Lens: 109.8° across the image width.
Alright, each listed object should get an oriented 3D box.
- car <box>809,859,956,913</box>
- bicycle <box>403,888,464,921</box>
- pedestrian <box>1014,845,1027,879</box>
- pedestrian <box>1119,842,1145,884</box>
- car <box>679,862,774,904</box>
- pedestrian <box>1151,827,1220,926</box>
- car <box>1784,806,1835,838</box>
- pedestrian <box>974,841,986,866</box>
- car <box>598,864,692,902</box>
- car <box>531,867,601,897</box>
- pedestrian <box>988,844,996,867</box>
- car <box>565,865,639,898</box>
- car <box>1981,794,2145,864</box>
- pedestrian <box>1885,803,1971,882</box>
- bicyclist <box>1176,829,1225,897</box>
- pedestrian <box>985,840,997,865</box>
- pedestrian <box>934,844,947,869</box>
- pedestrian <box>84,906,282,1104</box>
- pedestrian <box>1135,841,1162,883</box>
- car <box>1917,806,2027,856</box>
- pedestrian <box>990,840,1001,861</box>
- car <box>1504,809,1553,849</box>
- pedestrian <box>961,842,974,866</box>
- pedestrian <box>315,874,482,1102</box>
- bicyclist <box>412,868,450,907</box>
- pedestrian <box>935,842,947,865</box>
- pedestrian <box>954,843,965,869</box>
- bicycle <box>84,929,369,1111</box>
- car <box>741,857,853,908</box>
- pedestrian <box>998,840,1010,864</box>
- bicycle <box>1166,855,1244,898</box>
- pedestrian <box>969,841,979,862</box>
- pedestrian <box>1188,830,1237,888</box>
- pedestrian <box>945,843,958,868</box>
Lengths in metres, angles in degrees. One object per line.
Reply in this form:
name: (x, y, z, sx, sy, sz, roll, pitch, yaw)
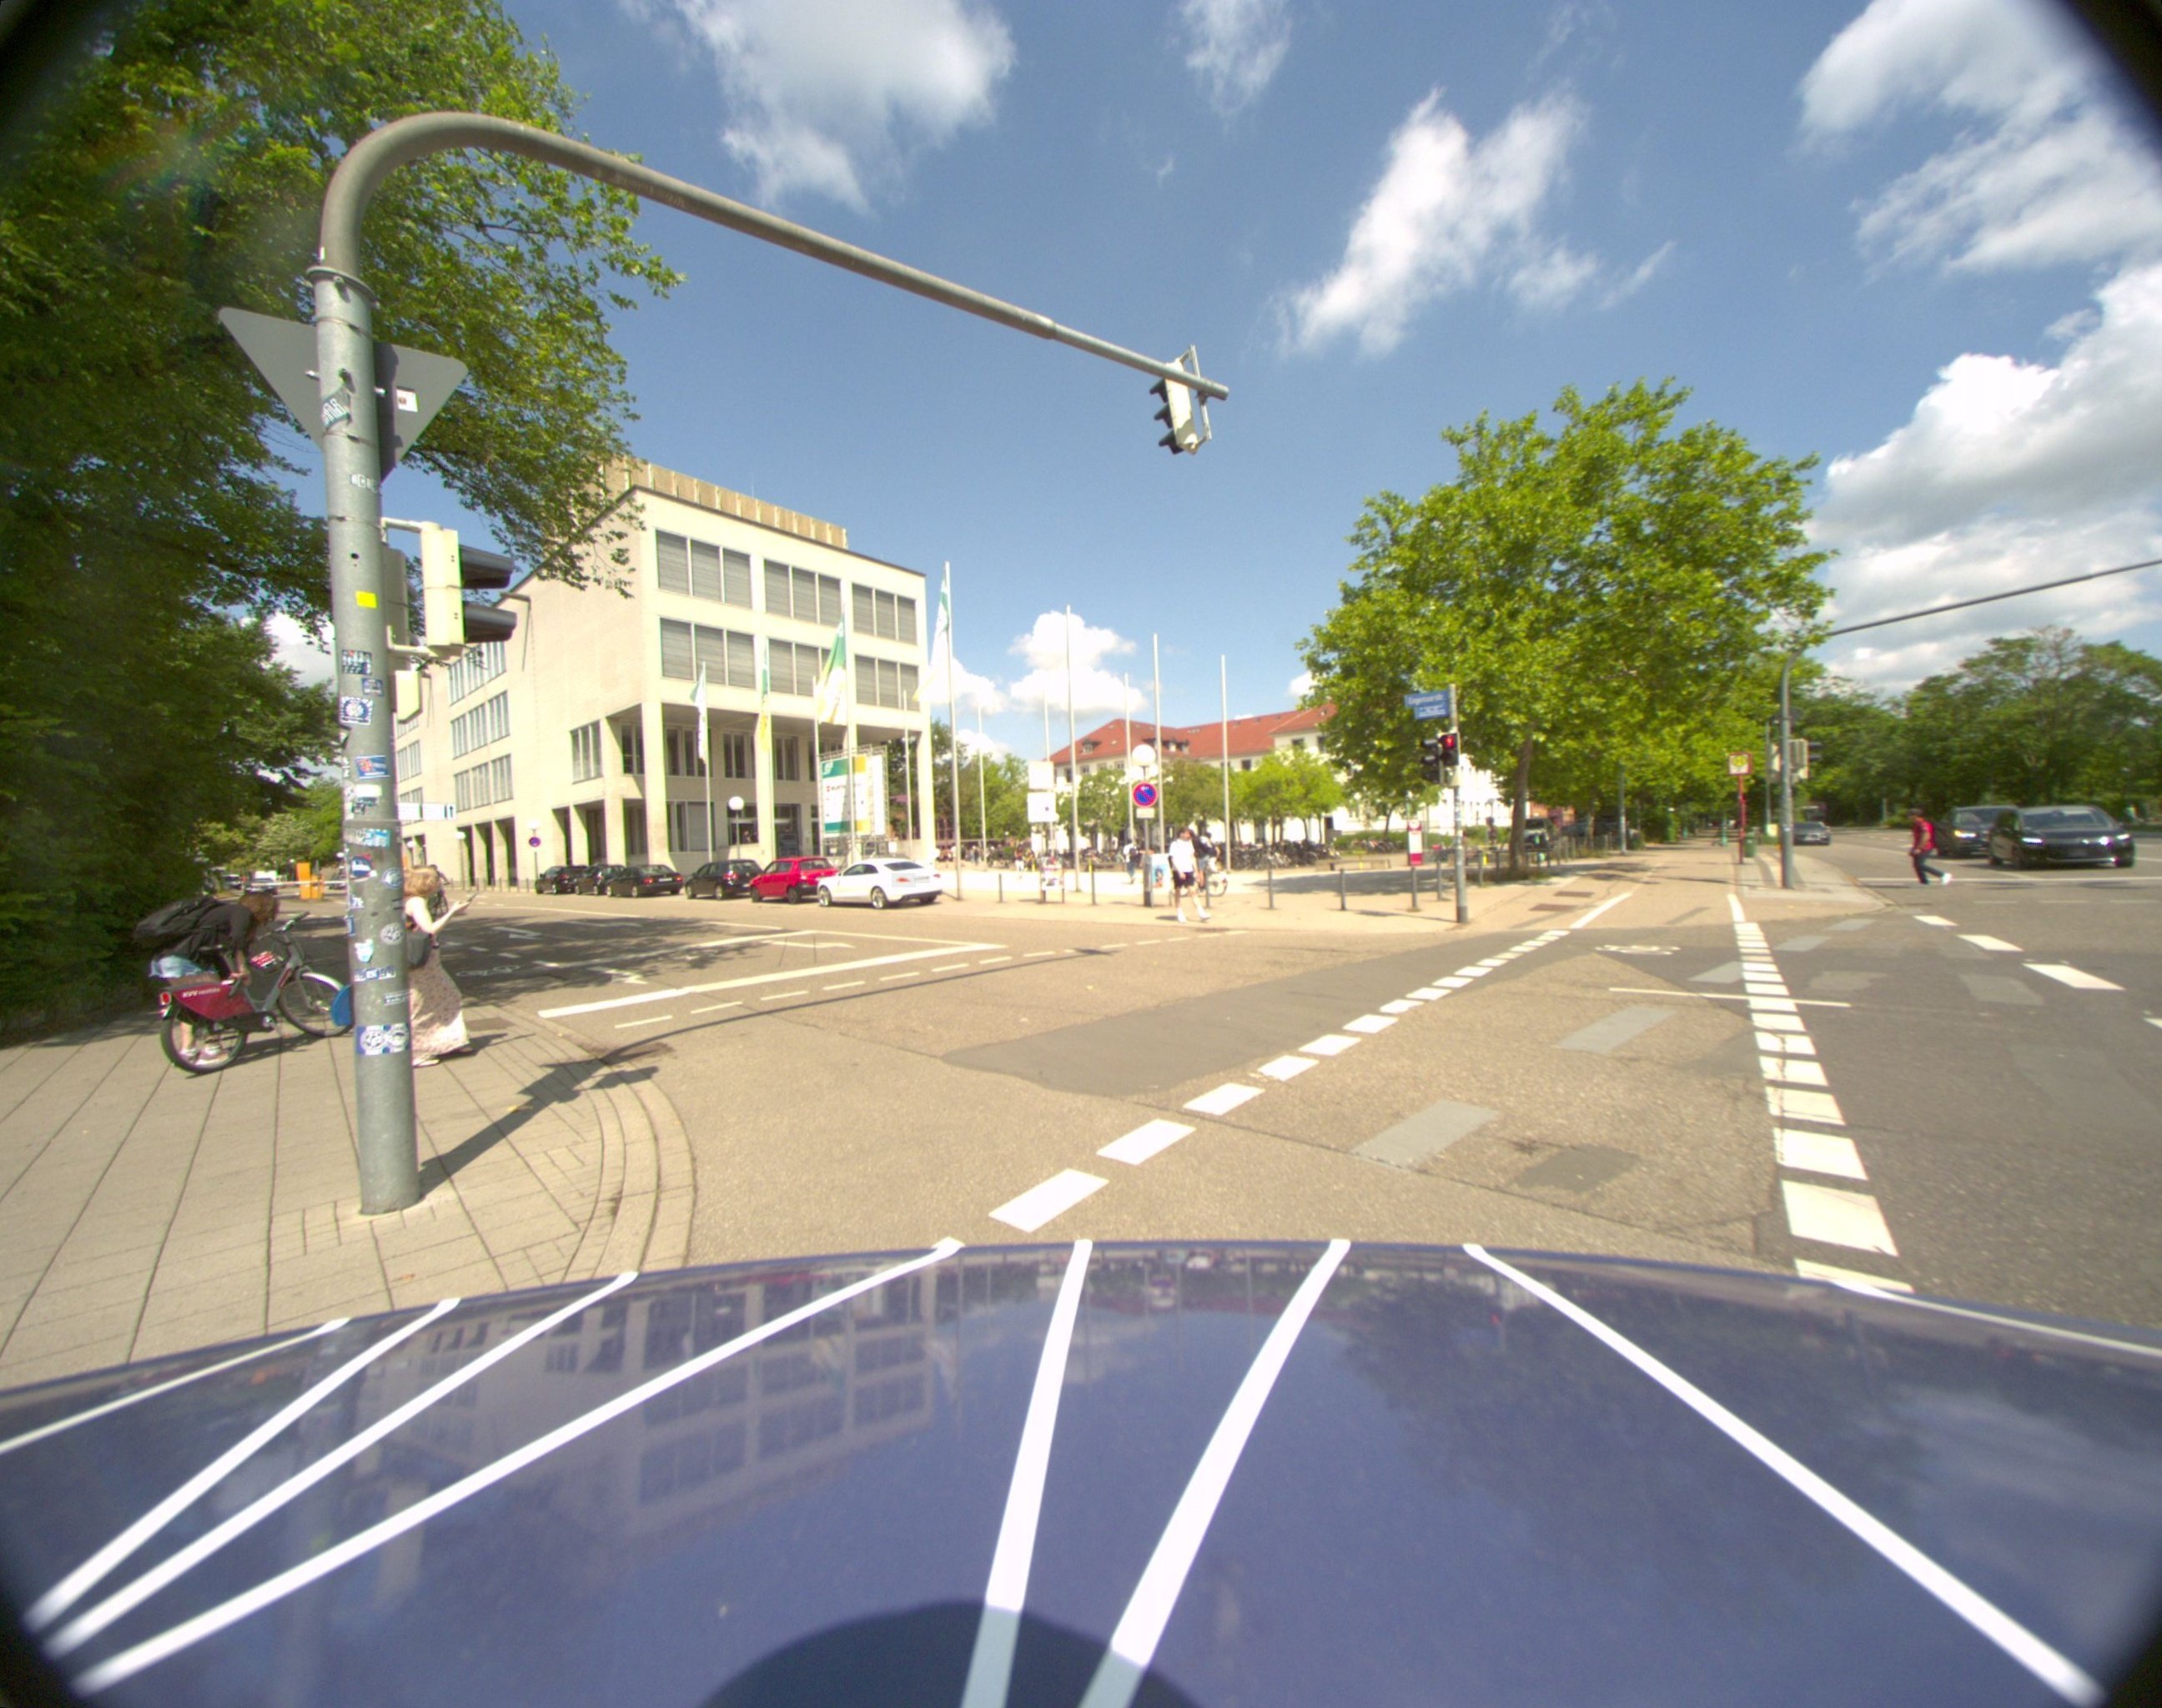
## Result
car: (-5.913, 0.919, 22.413, 4.430, 1.389, 1.837, -2, 1, 38)
bicycle: (-20.986, 1.646, 24.622, 2.158, 0.993, 0.648, -2, 1, 26)
pedestrian: (-2.870, 0.362, 35.991, 0.539, 1.581, 0.435, -3, 1, -11)
pedestrian: (2.026, 0.356, 30.120, 0.685, 1.613, 0.833, -4, 2, -21)
car: (-13.678, 1.101, 29.243, 3.919, 1.439, 1.746, -2, 1, 40)
pedestrian: (2.070, 0.434, 15.013, 0.876, 1.862, 0.974, -2, 1, 39)
car: (43.753, -1.926, 45.712, 1.908, 1.772, 4.007, -2, 1, 39)
pedestrian: (-8.010, -0.062, 60.361, 0.674, 1.892, 0.802, -3, 2, 9)
car: (-19.107, 1.262, 33.246, 4.389, 1.432, 2.005, -2, 1, 38)
car: (-26.646, 1.442, 39.280, 4.135, 1.388, 1.694, -2, 1, 38)
pedestrian: (-5.999, 0.098, 51.267, 0.473, 1.527, 0.561, -3, 2, -10)
car: (-23.191, 1.343, 36.734, 3.707, 1.422, 1.804, -2, 1, 38)
car: (25.495, -0.651, 19.901, 1.842, 1.593, 4.007, -2, 1, 41)
pedestrian: (17.743, -0.240, 15.953, 1.060, 1.588, 0.974, -2, 1, 41)
bicyclist: (3.362, 0.250, 21.366, 1.084, 1.843, 0.686, -1, 2, 41)
pedestrian: (-7.113, -0.113, 60.311, 0.674, 1.892, 0.802, -3, 2, 9)
pedestrian: (-10.999, 0.164, 59.687, 0.674, 1.892, 0.802, -3, 2, 9)
pedestrian: (-7.129, 1.153, 6.084, 0.656, 1.409, 0.787, 0, 1, -11)
pedestrian: (2.704, 0.310, 30.427, 0.685, 1.613, 0.833, -4, 2, -23)
car: (30.173, -0.779, 25.862, 1.842, 1.528, 4.007, -2, 1, 41)
pedestrian: (-7.813, -0.293, 69.344, 0.674, 1.892, 0.802, -3, 2, 9)
car: (25.078, -1.375, 42.521, 1.994, 2.043, 4.236, -2, 1, 35)
pedestrian: (-8.956, -0.007, 60.019, 0.674, 1.892, 0.802, -3, 2, 9)
pedestrian: (-5.269, 0.992, 5.913, 0.645, 1.617, 0.635, -3, 1, -11)
bicyclist: (-20.981, 1.080, 24.528, 0.832, 1.219, 0.619, -2, 1, 26)
pedestrian: (-11.917, -0.035, 64.915, 0.674, 1.892, 0.802, -3, 2, 9)
pedestrian: (-8.032, 0.137, 50.202, 0.472, 1.704, 0.383, -3, 2, 9)
bicycle: (-6.905, 1.271, 6.285, 0.672, 1.136, 1.662, -1, 0, -10)
car: (-9.686, 0.961, 25.834, 3.806, 1.548, 1.776, -2, 1, 38)
pedestrian: (-6.159, -0.145, 61.016, 0.674, 1.892, 0.802, -3, 2, 9)
bicycle: (3.458, 0.622, 21.299, 2.048, 1.128, 0.692, -2, 1, 41)
pedestrian: (-10.140, -0.234, 71.869, 0.674, 1.892, 0.802, -3, 2, 9)
pedestrian: (4.389, 0.176, 25.334, 1.318, 1.838, 0.702, -4, 0, 41)
pedestrian: (-10.217, 0.121, 59.804, 0.674, 1.892, 0.802, -3, 2, 9)
